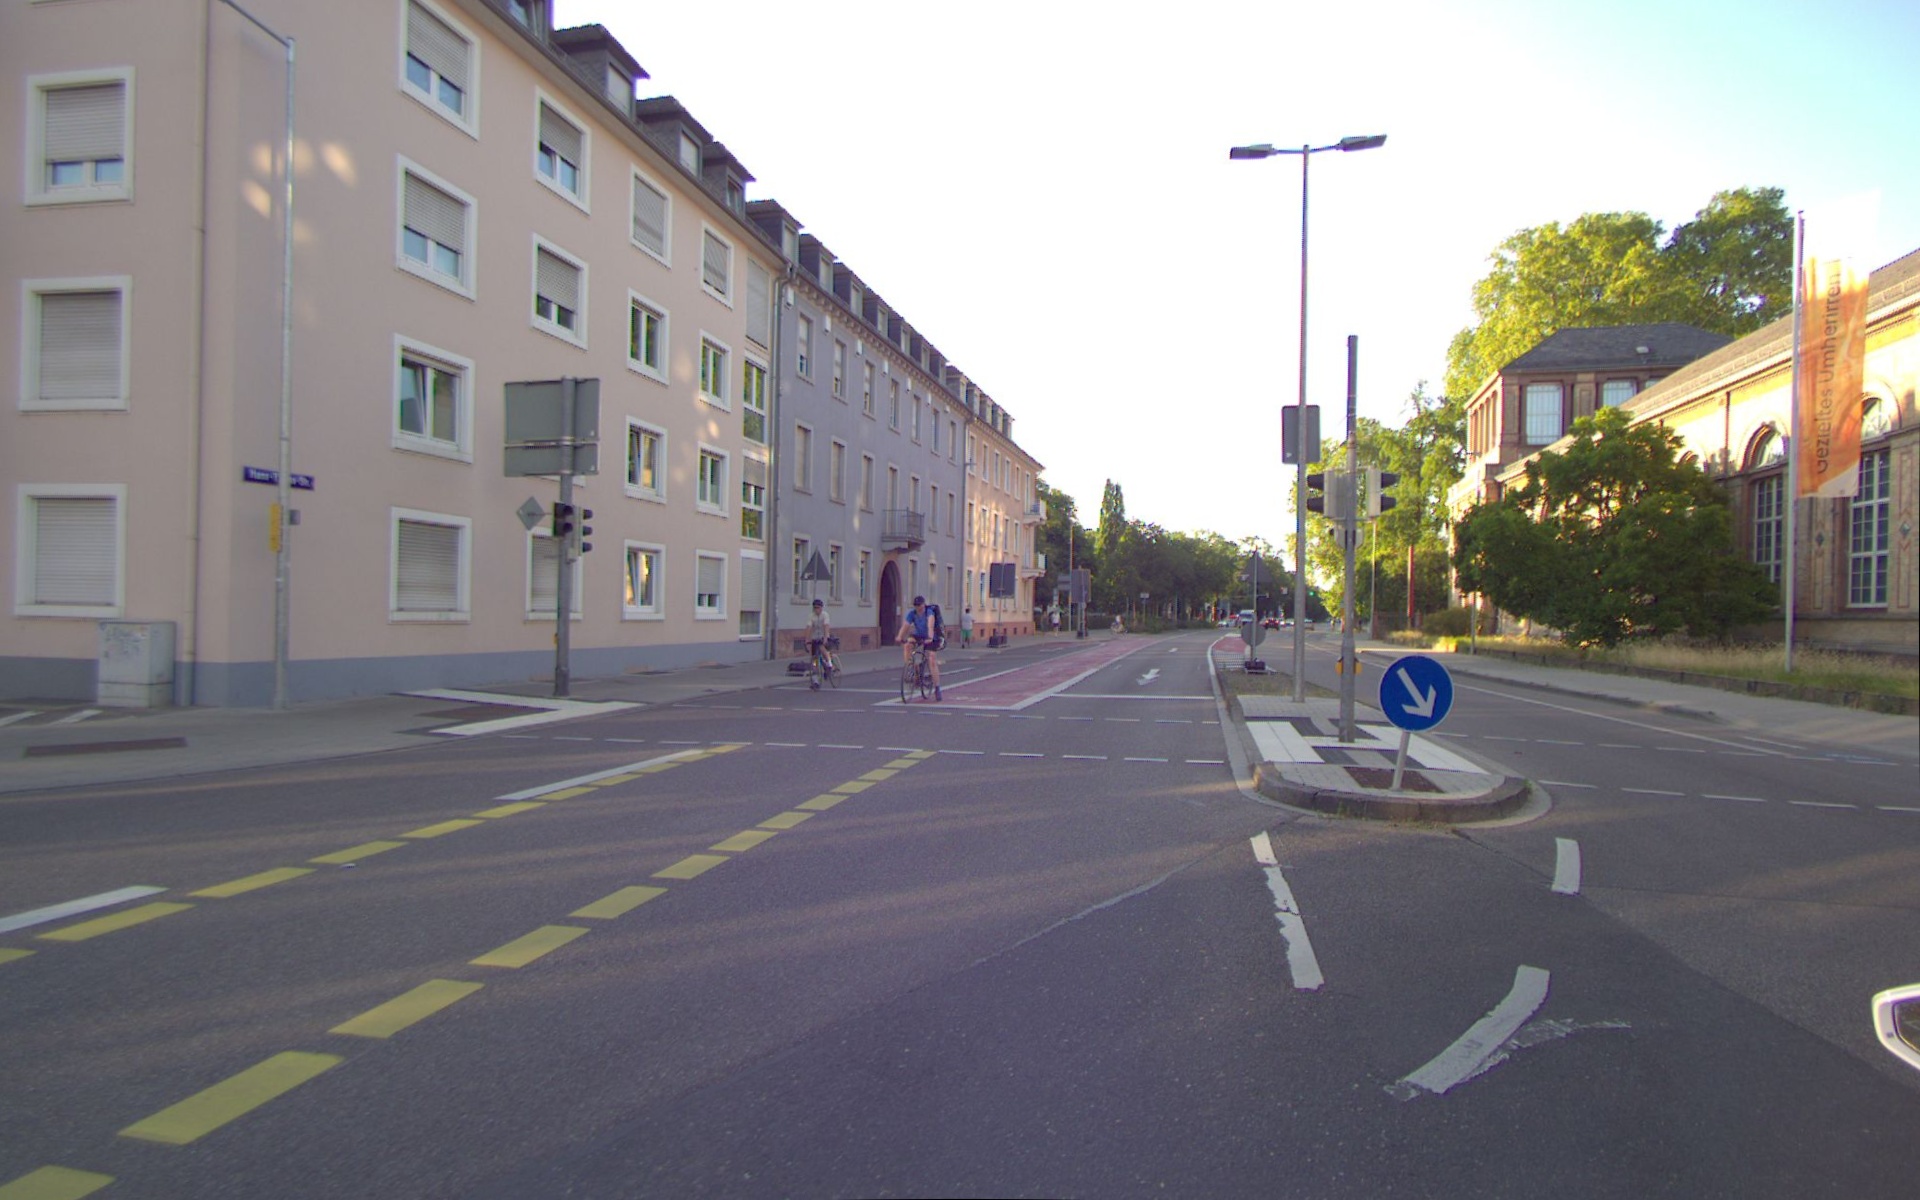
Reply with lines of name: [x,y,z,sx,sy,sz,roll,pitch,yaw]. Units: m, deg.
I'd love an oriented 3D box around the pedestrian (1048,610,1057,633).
pedestrian: [6.397,1.487,69.334,0.604,1.595,0.725,1,0,8]

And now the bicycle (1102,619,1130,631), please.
bicycle: [12.547,2.038,80.635,2.164,0.941,0.769,1,0,-24]

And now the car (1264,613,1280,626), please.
car: [41.783,2.591,134.457,1.960,1.743,4.001,1,-1,17]

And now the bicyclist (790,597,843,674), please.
bicyclist: [-2.789,0.680,19.610,0.699,1.459,0.894,1,0,17]

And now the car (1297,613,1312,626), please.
car: [50.008,2.839,145.937,1.961,1.743,4.000,1,-1,20]

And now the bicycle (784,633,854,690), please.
bicycle: [-2.757,1.181,19.775,0.709,1.024,1.689,1,-1,17]

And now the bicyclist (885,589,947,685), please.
bicyclist: [-0.732,0.619,17.079,0.699,1.565,1.125,1,0,17]

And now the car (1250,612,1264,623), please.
car: [47.378,2.758,160.062,1.960,1.743,4.000,1,-1,19]

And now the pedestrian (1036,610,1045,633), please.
pedestrian: [5.571,1.500,69.589,0.604,1.554,0.691,1,0,8]

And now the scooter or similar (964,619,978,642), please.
scooter or similar: [0.548,1.516,49.873,0.389,1.143,0.861,1,0,20]

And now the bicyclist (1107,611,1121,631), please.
bicyclist: [12.373,1.675,80.565,0.861,1.618,0.749,1,0,-24]

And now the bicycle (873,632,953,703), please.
bicycle: [-0.765,1.111,17.002,0.709,1.082,2.002,1,-1,17]

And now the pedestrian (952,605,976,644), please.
pedestrian: [0.178,1.088,44.343,0.860,1.674,0.811,1,-3,15]
